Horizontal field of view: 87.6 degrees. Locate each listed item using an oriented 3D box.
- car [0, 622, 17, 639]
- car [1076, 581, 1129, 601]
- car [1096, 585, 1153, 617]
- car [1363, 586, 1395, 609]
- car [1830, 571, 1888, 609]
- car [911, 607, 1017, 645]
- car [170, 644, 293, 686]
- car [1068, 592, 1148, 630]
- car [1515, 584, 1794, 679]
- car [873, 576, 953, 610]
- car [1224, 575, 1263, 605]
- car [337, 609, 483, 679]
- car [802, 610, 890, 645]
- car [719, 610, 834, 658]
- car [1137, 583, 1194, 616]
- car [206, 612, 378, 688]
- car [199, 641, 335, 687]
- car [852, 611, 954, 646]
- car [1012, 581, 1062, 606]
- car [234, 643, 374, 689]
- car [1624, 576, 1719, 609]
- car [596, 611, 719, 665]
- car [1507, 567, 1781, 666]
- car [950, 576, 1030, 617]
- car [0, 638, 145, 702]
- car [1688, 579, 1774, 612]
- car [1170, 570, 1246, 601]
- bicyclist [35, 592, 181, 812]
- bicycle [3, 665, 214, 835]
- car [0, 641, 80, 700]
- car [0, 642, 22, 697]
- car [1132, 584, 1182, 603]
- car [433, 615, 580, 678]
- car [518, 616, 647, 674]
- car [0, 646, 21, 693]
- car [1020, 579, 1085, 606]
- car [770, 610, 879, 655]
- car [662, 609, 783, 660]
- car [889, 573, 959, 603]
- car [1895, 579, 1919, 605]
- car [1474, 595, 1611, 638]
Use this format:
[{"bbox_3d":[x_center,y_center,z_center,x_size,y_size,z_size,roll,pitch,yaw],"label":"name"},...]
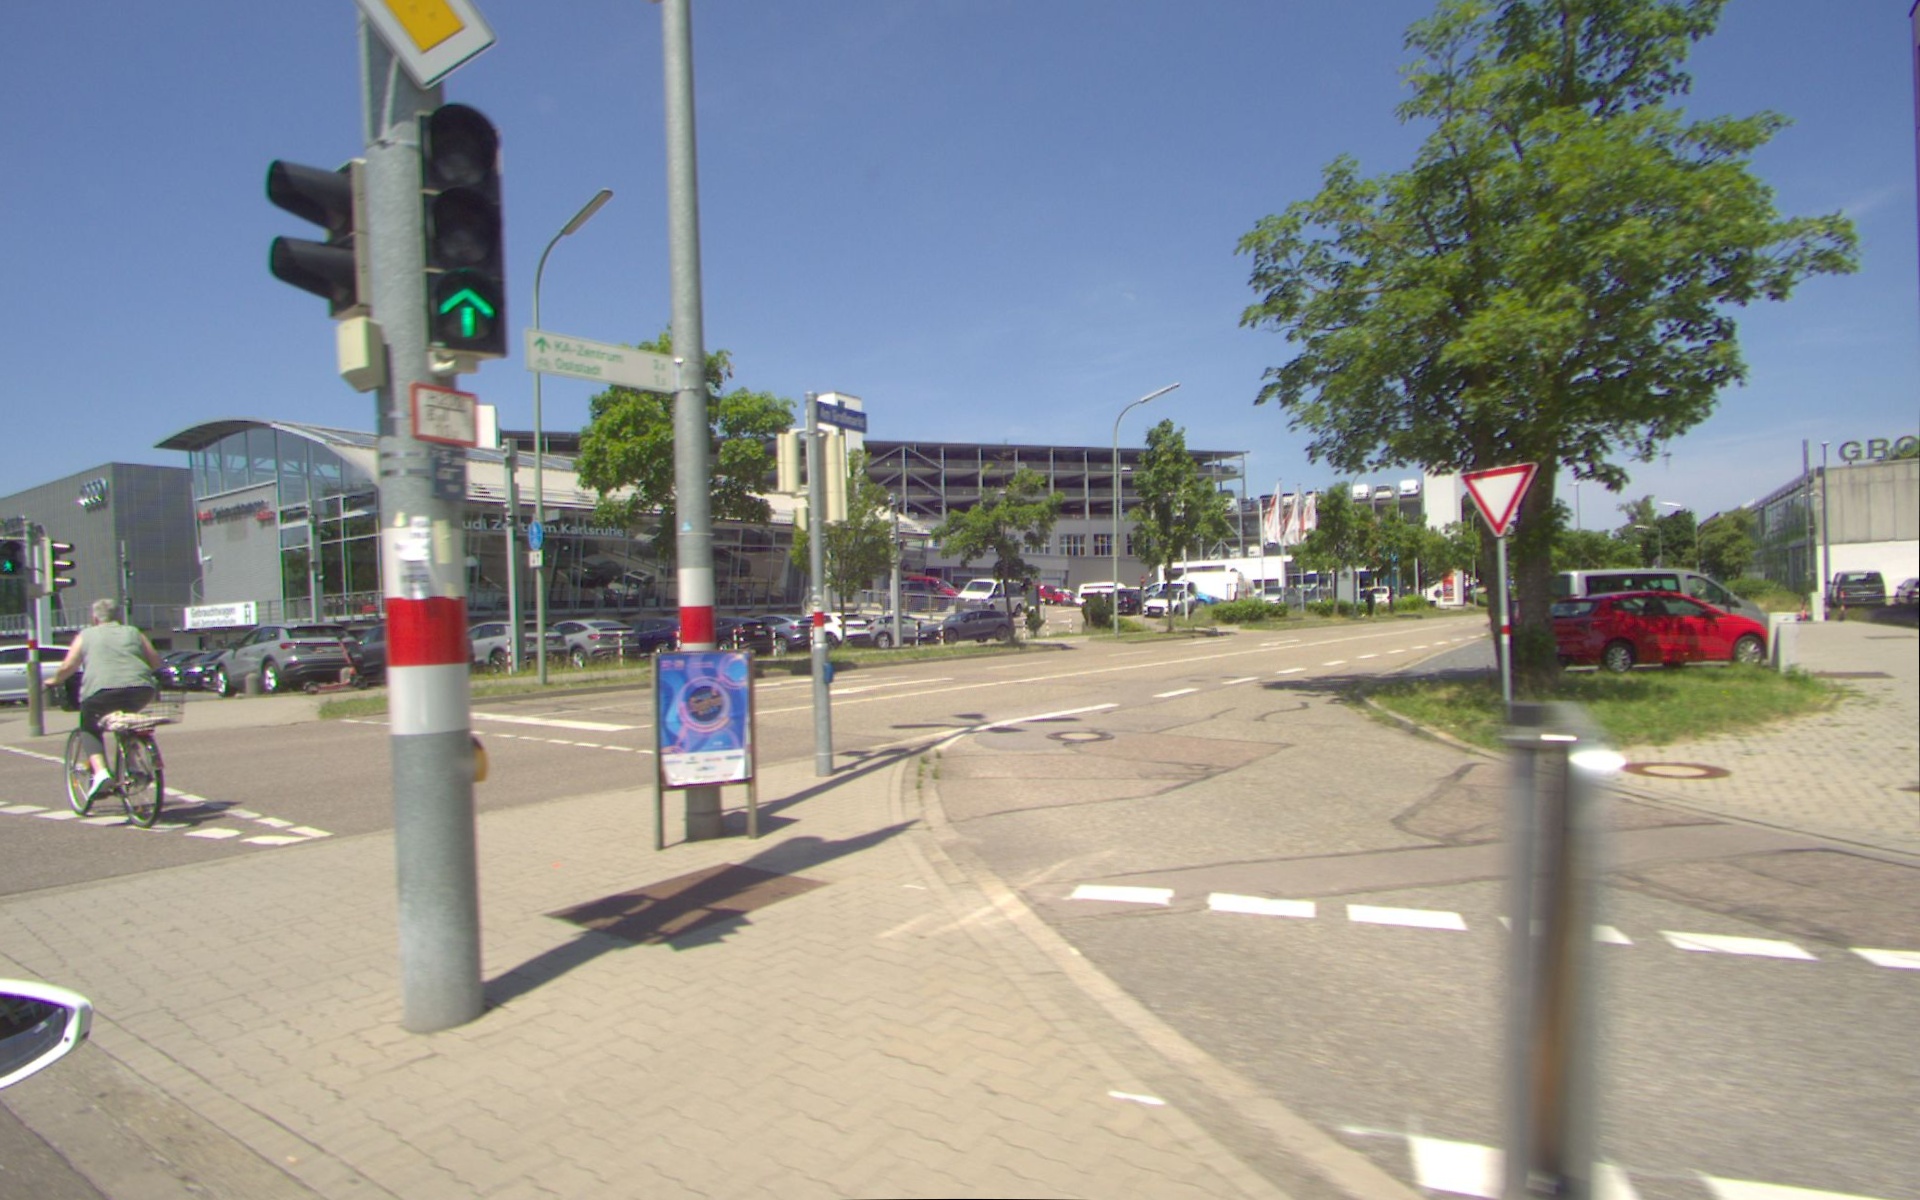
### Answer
[{"bbox_3d":[-80.170,2.501,82.008,1.770,1.328,3.984,-2,-3,29],"label":"car"},{"bbox_3d":[12.793,-0.774,90.136,4.296,1.674,1.903,-2,0,32],"label":"car"},{"bbox_3d":[9.728,0.088,59.111,1.971,1.727,3.981,-2,-2,31],"label":"car"},{"bbox_3d":[38.897,-0.282,92.974,1.895,2.040,3.973,-2,0,36],"label":"car"},{"bbox_3d":[46.369,-0.466,51.718,1.773,1.750,3.976,-2,-2,35],"label":"car"},{"bbox_3d":[0.207,1.148,45.899,4.552,1.491,1.840,-2,1,-32],"label":"car"},{"bbox_3d":[-29.019,2.568,39.984,1.620,1.600,3.640,-2,-3,33],"label":"car"},{"bbox_3d":[7.193,0.496,48.221,1.889,1.717,4.558,-2,0,36],"label":"car"},{"bbox_3d":[12.403,0.551,18.010,3.923,1.451,1.700,-2,-1,-6],"label":"car"},{"bbox_3d":[-2.513,-0.362,54.794,1.889,1.730,4.558,-2,0,36],"label":"car"},{"bbox_3d":[21.538,-0.709,75.965,1.813,2.039,3.980,-2,-2,32],"label":"car"},{"bbox_3d":[-14.264,1.149,25.917,3.948,1.675,1.839,-3,-3,37],"label":"car"},{"bbox_3d":[-5.689,1.342,49.846,3.936,1.591,1.843,-2,0,-27],"label":"car"},{"bbox_3d":[-6.806,1.292,37.113,3.939,1.675,1.843,-2,-3,29],"label":"car"},{"bbox_3d":[11.912,0.017,57.947,1.971,1.727,3.981,-2,-2,31],"label":"car"},{"bbox_3d":[-15.953,1.217,23.847,4.445,1.578,1.862,-4,-1,35],"label":"car"},{"bbox_3d":[-26.586,2.429,38.539,1.634,1.642,3.978,-2,-3,33],"label":"car"},{"bbox_3d":[-2.737,1.347,48.088,4.525,1.491,1.903,-1,0,-32],"label":"car"},{"bbox_3d":[5.618,-0.435,72.531,1.860,1.728,3.976,-2,-1,35],"label":"car"},{"bbox_3d":[-24.428,2.415,37.423,1.825,1.618,3.978,-2,-3,33],"label":"car"},{"bbox_3d":[61.181,-0.621,86.241,6.609,2.552,2.205,-2,-2,36],"label":"car"},{"bbox_3d":[-9.876,1.241,32.606,3.853,1.675,1.627,-2,-1,29],"label":"car"},{"bbox_3d":[14.370,0.322,21.132,4.840,1.911,1.918,-1,0,-11],"label":"car"},{"bbox_3d":[1.639,-0.189,52.269,1.886,1.992,5.226,-2,0,31],"label":"car"},{"bbox_3d":[-21.599,1.578,22.657,1.844,1.407,4.582,-2,-3,34],"label":"car"},{"bbox_3d":[52.961,-0.256,68.882,4.515,2.039,1.989,-2,-2,35],"label":"car"},{"bbox_3d":[16.507,-0.945,66.610,4.524,1.911,1.903,-2,0,32],"label":"car"},{"bbox_3d":[-6.689,0.774,7.870,0.813,1.626,0.627,-1,-1,29],"label":"bicyclist"},{"bbox_3d":[-6.725,1.123,7.887,1.866,1.148,0.627,-1,0,29],"label":"bicycle"},{"bbox_3d":[-23.905,1.694,23.843,1.843,1.407,4.088,-2,-3,33],"label":"car"},{"bbox_3d":[-26.896,1.857,26.730,4.602,1.437,1.858,-3,-3,36],"label":"car"},{"bbox_3d":[18.969,-0.606,96.620,4.300,1.674,1.902,-2,0,35],"label":"car"},{"bbox_3d":[-12.876,1.338,28.394,3.939,1.675,1.843,-2,-3,29],"label":"car"},{"bbox_3d":[-11.387,1.314,30.182,3.760,1.637,1.634,-1,0,29],"label":"car"},{"bbox_3d":[-29.922,2.017,28.695,1.849,1.381,4.088,-2,-3,33],"label":"car"},{"bbox_3d":[6.932,-0.542,75.594,4.528,1.821,1.902,-2,0,35],"label":"car"},{"bbox_3d":[-5.352,1.299,39.466,3.939,1.675,1.843,-2,-3,29],"label":"car"},{"bbox_3d":[-8.305,1.248,34.952,3.939,1.675,1.843,-2,-3,29],"label":"car"},{"bbox_3d":[-2.309,-0.740,64.101,4.084,1.745,1.906,-2,0,26],"label":"car"},{"bbox_3d":[48.497,-0.402,50.297,1.673,1.171,3.976,-2,-2,35],"label":"car"},{"bbox_3d":[20.797,0.579,35.791,3.925,1.350,1.918,-2,0,-11],"label":"car"}]
